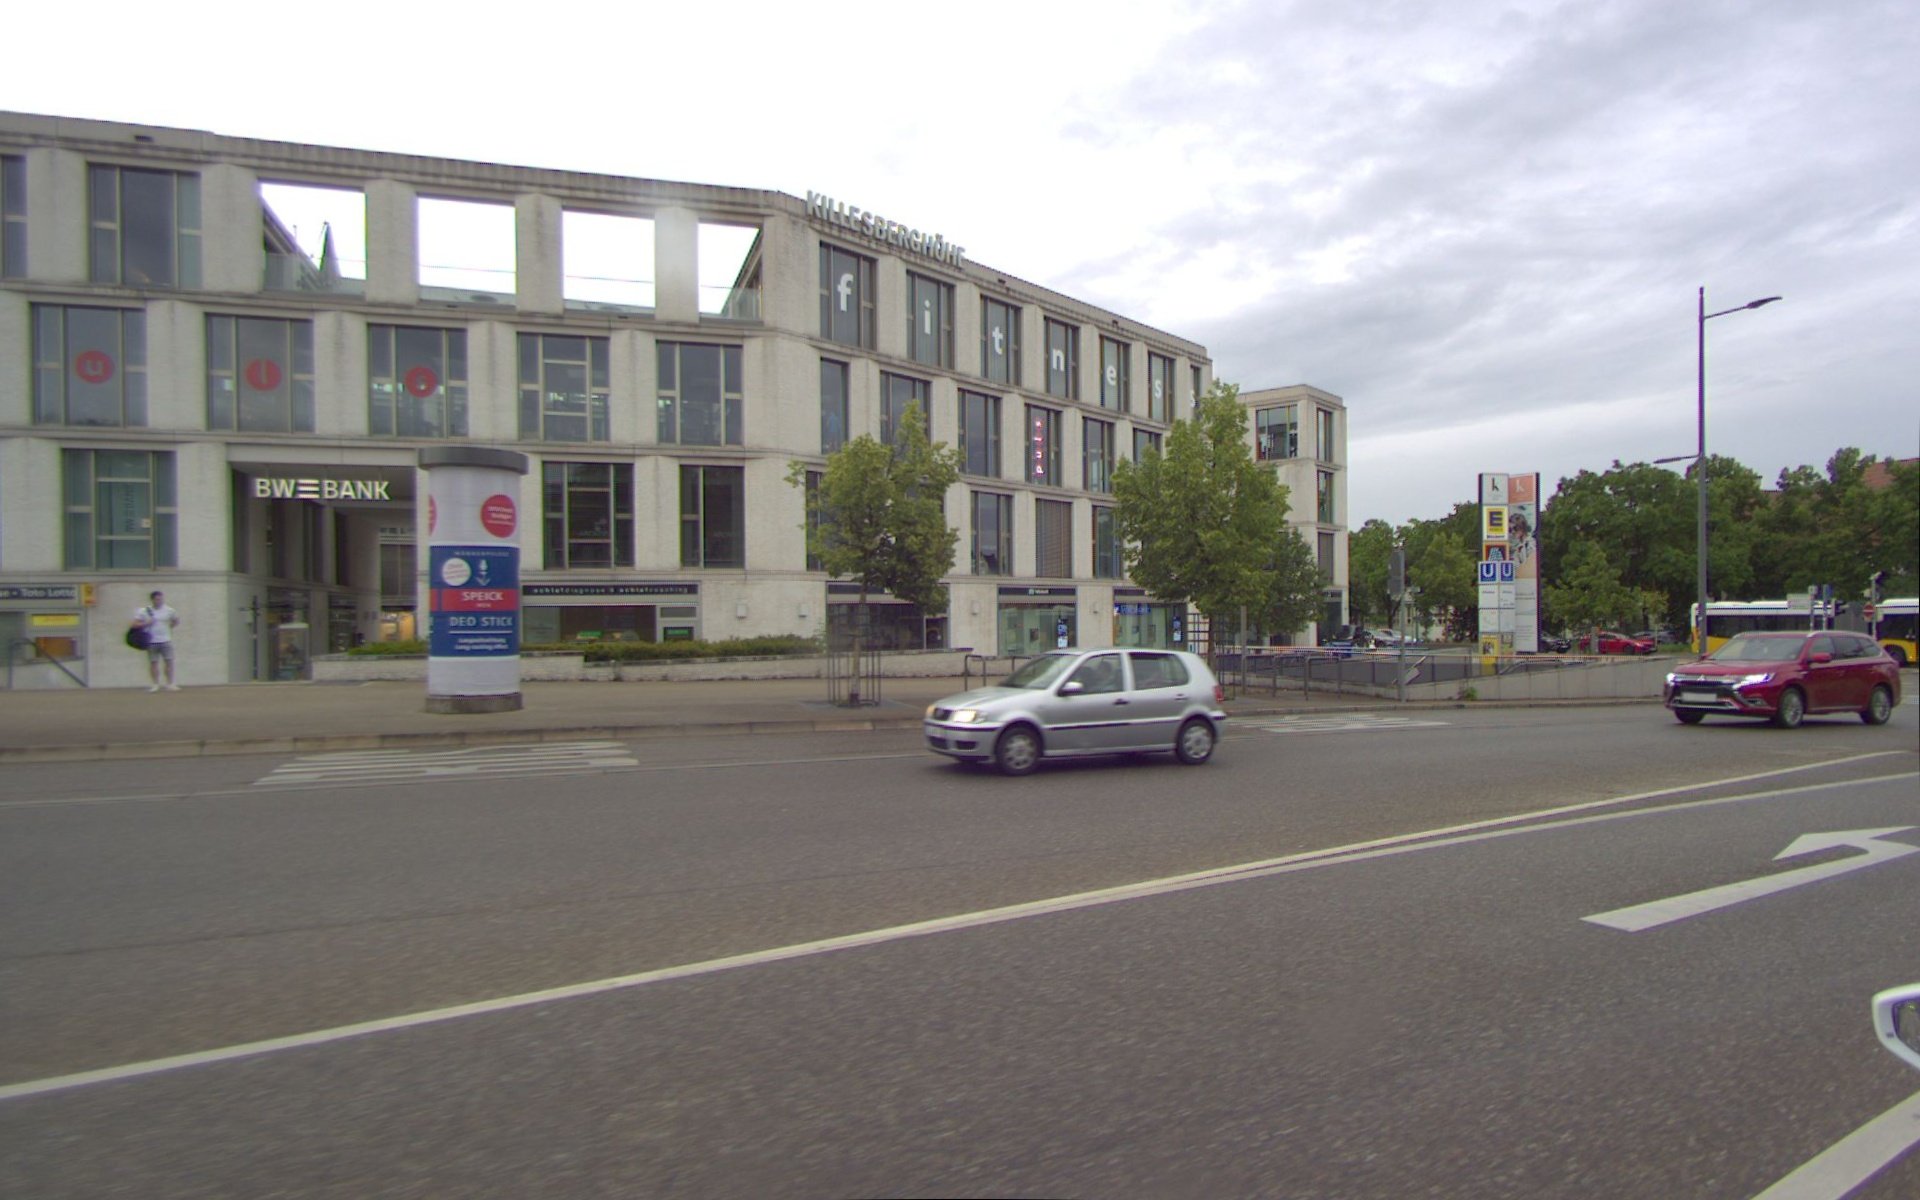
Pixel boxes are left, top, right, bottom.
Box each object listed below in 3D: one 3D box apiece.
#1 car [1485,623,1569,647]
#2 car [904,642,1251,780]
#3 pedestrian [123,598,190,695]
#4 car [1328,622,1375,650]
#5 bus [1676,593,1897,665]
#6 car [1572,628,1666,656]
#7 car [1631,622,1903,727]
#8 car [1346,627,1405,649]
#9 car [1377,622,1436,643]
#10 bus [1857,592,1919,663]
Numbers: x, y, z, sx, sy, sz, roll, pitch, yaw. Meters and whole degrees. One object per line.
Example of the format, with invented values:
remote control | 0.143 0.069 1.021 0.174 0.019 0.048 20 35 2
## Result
car | 36.487 2.238 64.717 1.972 1.444 4.434 1 0 -24
car | 1.413 1.250 12.174 3.824 1.435 1.758 1 -3 -24
pedestrian | -14.459 0.825 18.085 0.908 1.712 0.493 1 -1 -40
car | 25.284 2.326 64.878 1.751 1.754 3.983 0 -1 38
bus | 41.933 1.448 51.459 2.853 3.351 8.540 1 -1 -19
car | 41.249 2.596 63.010 1.972 1.444 4.562 3 0 -23
car | 14.529 1.287 18.078 4.671 1.705 1.849 1 -3 -24
car | 30.233 2.731 73.151 1.645 1.444 3.956 1 0 -24
car | 33.381 2.411 75.208 1.820 1.444 3.762 1 0 -24
bus | 44.431 1.198 42.579 2.848 3.144 9.732 0 -1 -13
